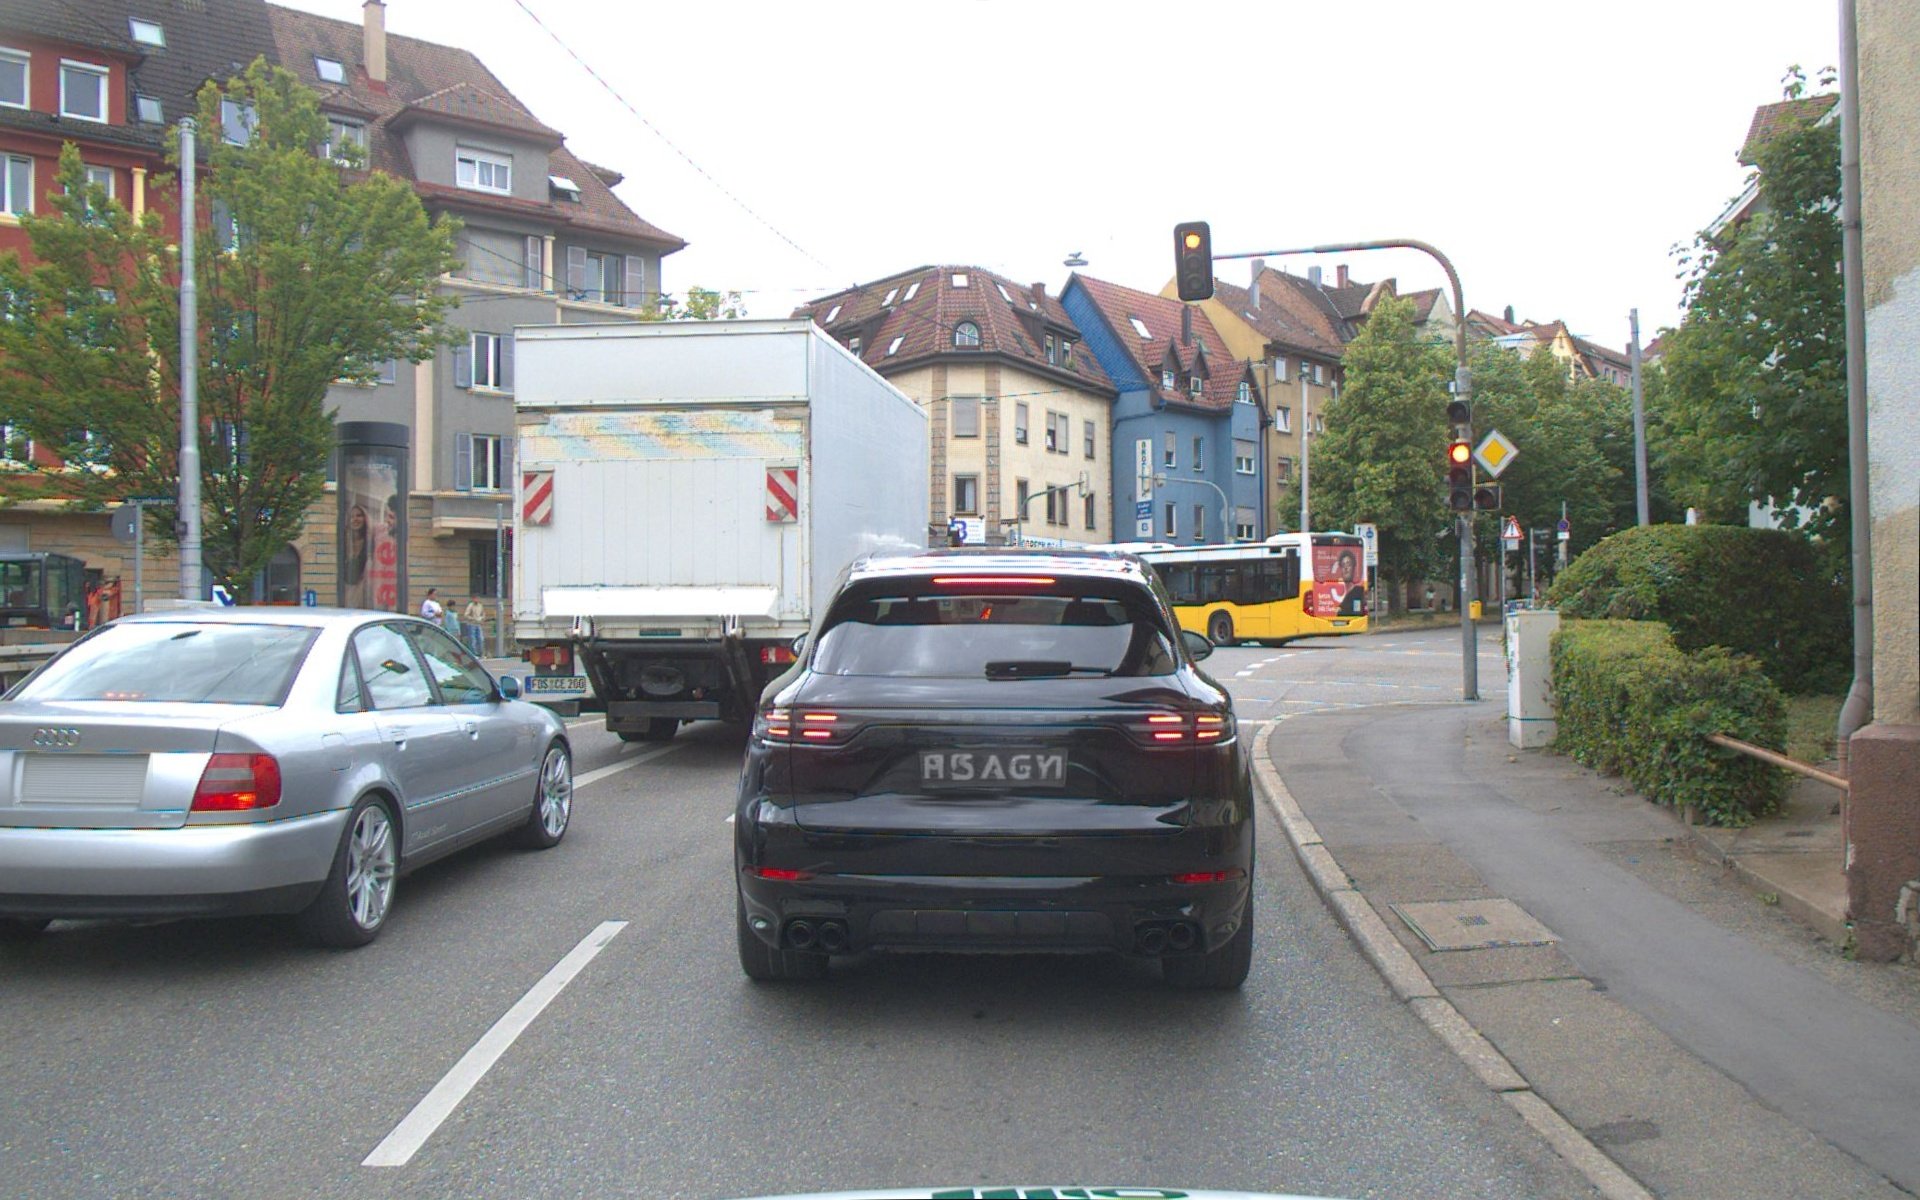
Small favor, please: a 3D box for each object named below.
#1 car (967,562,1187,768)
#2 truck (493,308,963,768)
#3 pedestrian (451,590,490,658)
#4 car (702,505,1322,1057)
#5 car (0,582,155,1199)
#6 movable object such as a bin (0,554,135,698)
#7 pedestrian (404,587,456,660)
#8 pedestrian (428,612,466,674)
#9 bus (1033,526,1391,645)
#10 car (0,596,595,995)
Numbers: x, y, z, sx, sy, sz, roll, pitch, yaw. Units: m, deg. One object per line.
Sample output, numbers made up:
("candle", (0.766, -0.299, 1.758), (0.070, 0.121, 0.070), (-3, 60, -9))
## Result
("car", (1.151, 0.516, 14.779), (1.613, 1.583, 3.586), (1, 0, 9))
("truck", (-1.864, -0.529, 17.333), (2.667, 3.606, 8.428), (1, 0, 7))
("pedestrian", (-11.051, 0.536, 37.352), (0.514, 1.513, 0.650), (0, 0, 38))
("car", (0.244, 0.574, 7.631), (1.989, 1.753, 4.501), (1, 0, 2))
("car", (-2.712, 0.718, 1.179), (1.953, 1.454, 4.841), (-1, 0, -1))
("movable object such as a bin", (-13.950, 0.372, 25.481), (1.351, 2.049, 3.525), (-1, 0, -12))
("pedestrian", (-11.568, 0.505, 36.124), (0.777, 1.573, 0.738), (-1, 0, 26))
("pedestrian", (-11.416, 0.955, 36.822), (0.565, 1.361, 0.581), (-1, 0, 39))
("bus", (7.154, -0.308, 49.738), (3.132, 3.150, 11.995), (-1, -1, -36))
("car", (-3.115, 0.693, 7.923), (1.594, 1.389, 4.130), (-1, 0, 3))
